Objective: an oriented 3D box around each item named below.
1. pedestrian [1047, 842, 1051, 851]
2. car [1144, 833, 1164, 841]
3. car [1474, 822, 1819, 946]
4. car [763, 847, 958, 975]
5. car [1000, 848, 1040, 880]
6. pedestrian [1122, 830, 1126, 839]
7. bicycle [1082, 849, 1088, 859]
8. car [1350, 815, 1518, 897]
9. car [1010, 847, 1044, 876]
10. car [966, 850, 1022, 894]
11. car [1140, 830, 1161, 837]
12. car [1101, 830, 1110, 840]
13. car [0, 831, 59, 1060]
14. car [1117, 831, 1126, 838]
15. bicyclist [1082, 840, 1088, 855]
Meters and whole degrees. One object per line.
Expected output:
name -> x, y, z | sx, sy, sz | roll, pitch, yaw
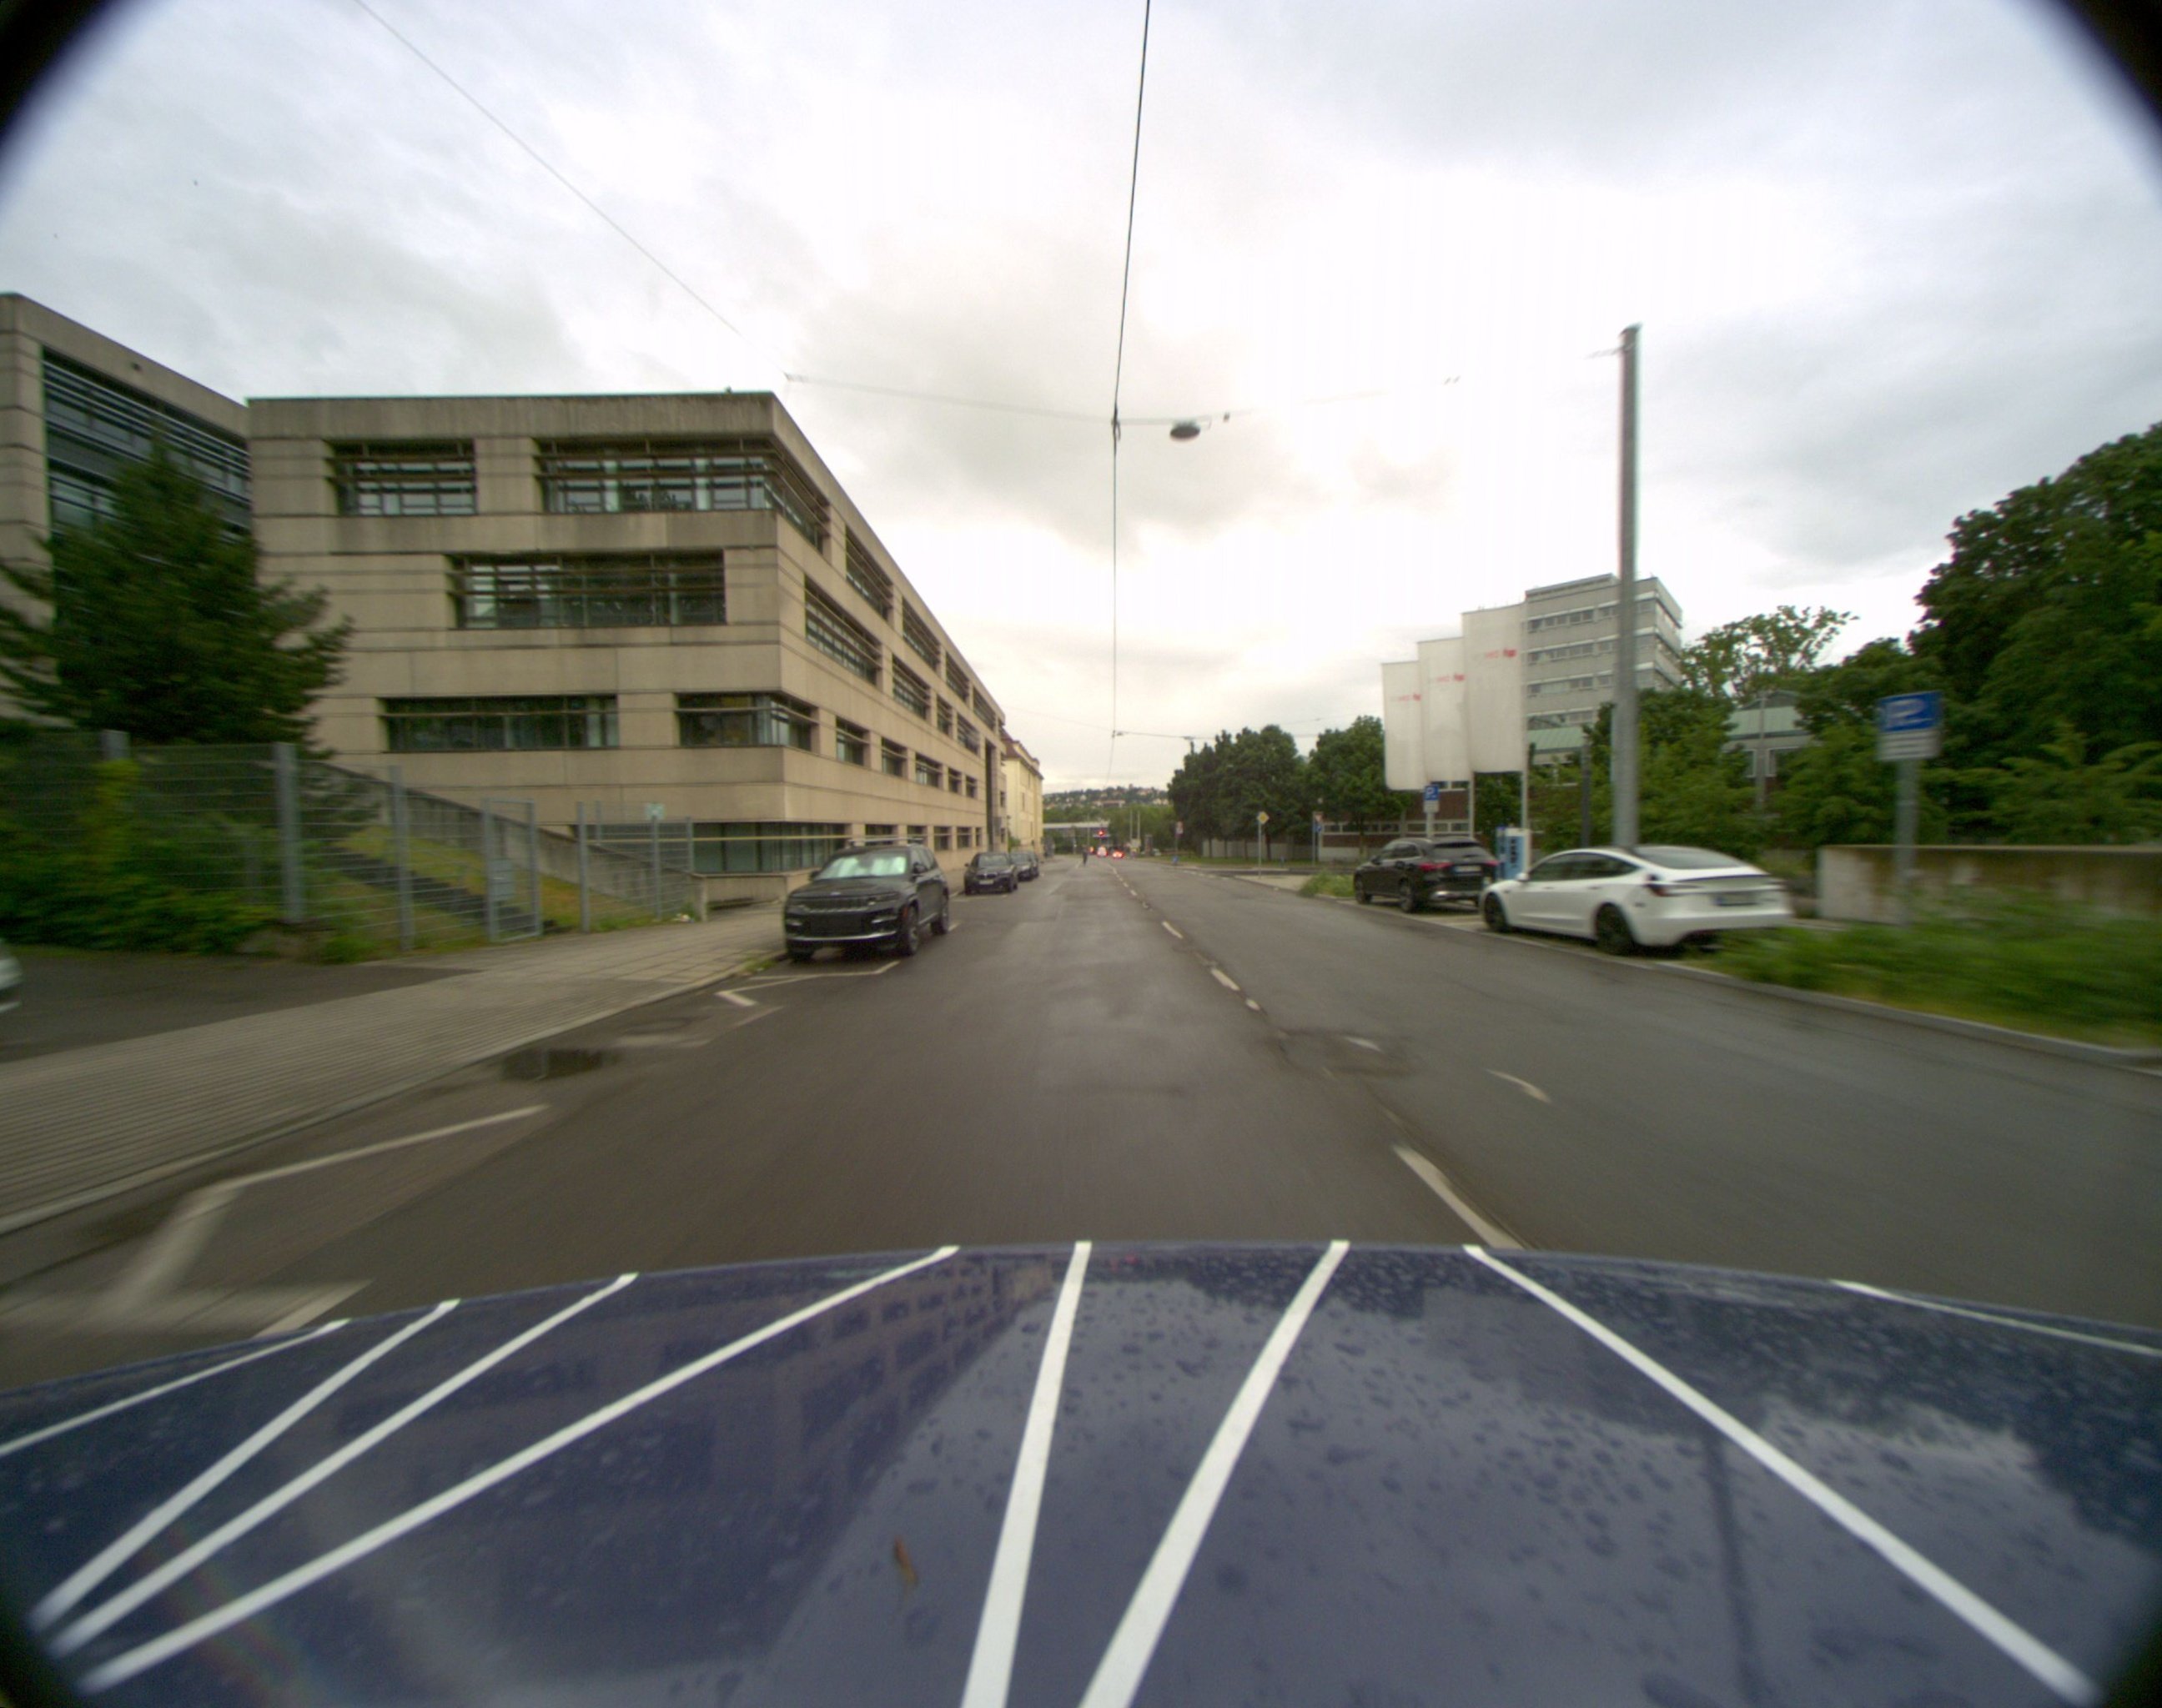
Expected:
pedestrian -> -6.773, -1.548, 160.970 | 0.671, 1.787, 0.852 | 0, 1, 2
car -> 16.346, -3.743, 170.400 | 1.871, 1.600, 4.515 | -3, 2, -33
car -> 7.787, 0.310, 11.133 | 1.825, 1.411, 4.401 | -2, 1, 1
car -> -3.591, 0.809, 13.437 | 1.940, 1.740, 4.795 | -2, 1, 0
car -> -3.236, 0.500, 41.026 | 1.730, 1.504, 4.056 | -3, 2, 0
pedestrian -> 8.011, -3.563, 141.726 | 0.671, 1.677, 0.913 | -2, 2, 8
bicycle -> 0.399, -0.013, 75.635 | 0.448, 0.957, 1.690 | -1, 0, 3
car -> 7.975, 0.002, 17.708 | 1.854, 1.608, 4.490 | -2, 1, 1
car -> -3.270, 0.401, 46.558 | 1.775, 1.595, 4.393 | -2, 1, -1
car -> -3.401, 0.671, 30.446 | 1.748, 1.524, 4.318 | -2, 1, -1
car -> 17.166, -5.026, 187.196 | 4.710, 1.745, 2.020 | -1, 2, 42
car -> 6.383, -4.969, 200.543 | 1.988, 2.515, 5.630 | 0, 1, -1
car -> -10.277, 0.641, 5.019 | 4.449, 1.703, 1.904 | 2, 2, 0
car -> 9.403, -4.516, 176.493 | 1.886, 1.482, 5.220 | 1, 1, 3
bicyclist -> 0.426, -0.622, 75.447 | 0.485, 1.425, 0.930 | -2, 2, 3
